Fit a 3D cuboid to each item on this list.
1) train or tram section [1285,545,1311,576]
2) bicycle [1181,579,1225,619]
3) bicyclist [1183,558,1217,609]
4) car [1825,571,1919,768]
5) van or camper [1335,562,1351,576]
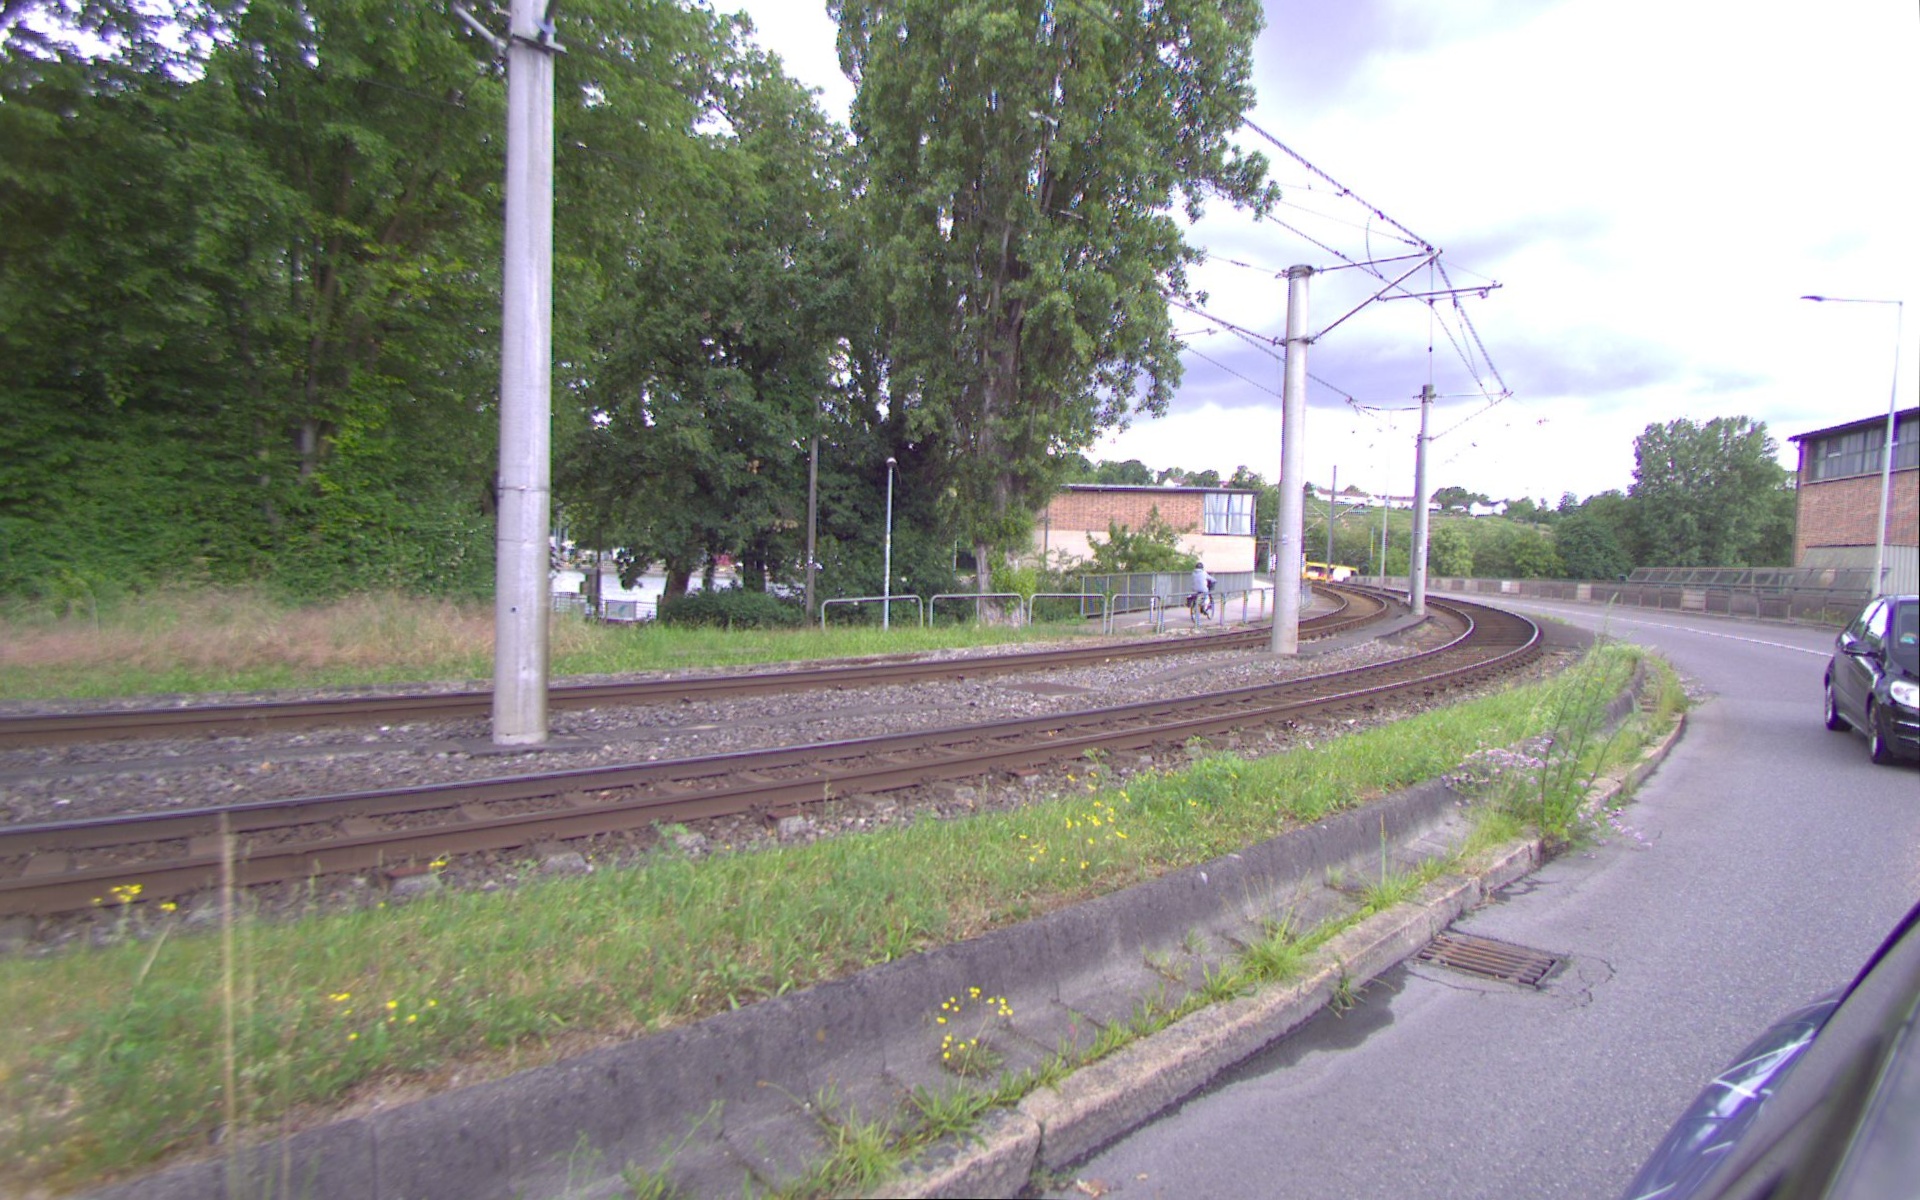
[{"bbox_3d":[45.989,-5.357,137.965,2.991,3.966,9.395,2,3,17],"label":"train or tram section"},{"bbox_3d":[6.695,-0.033,27.851,0.424,1.063,2.053,1,1,36],"label":"bicycle"},{"bbox_3d":[6.570,-0.450,27.723,0.592,1.377,0.898,1,1,37],"label":"bicyclist"},{"bbox_3d":[9.873,0.578,9.753,1.850,1.641,3.951,3,3,34],"label":"car"},{"bbox_3d":[66.323,-5.369,175.246,2.137,2.506,4.667,1,2,27],"label":"van or camper"}]
